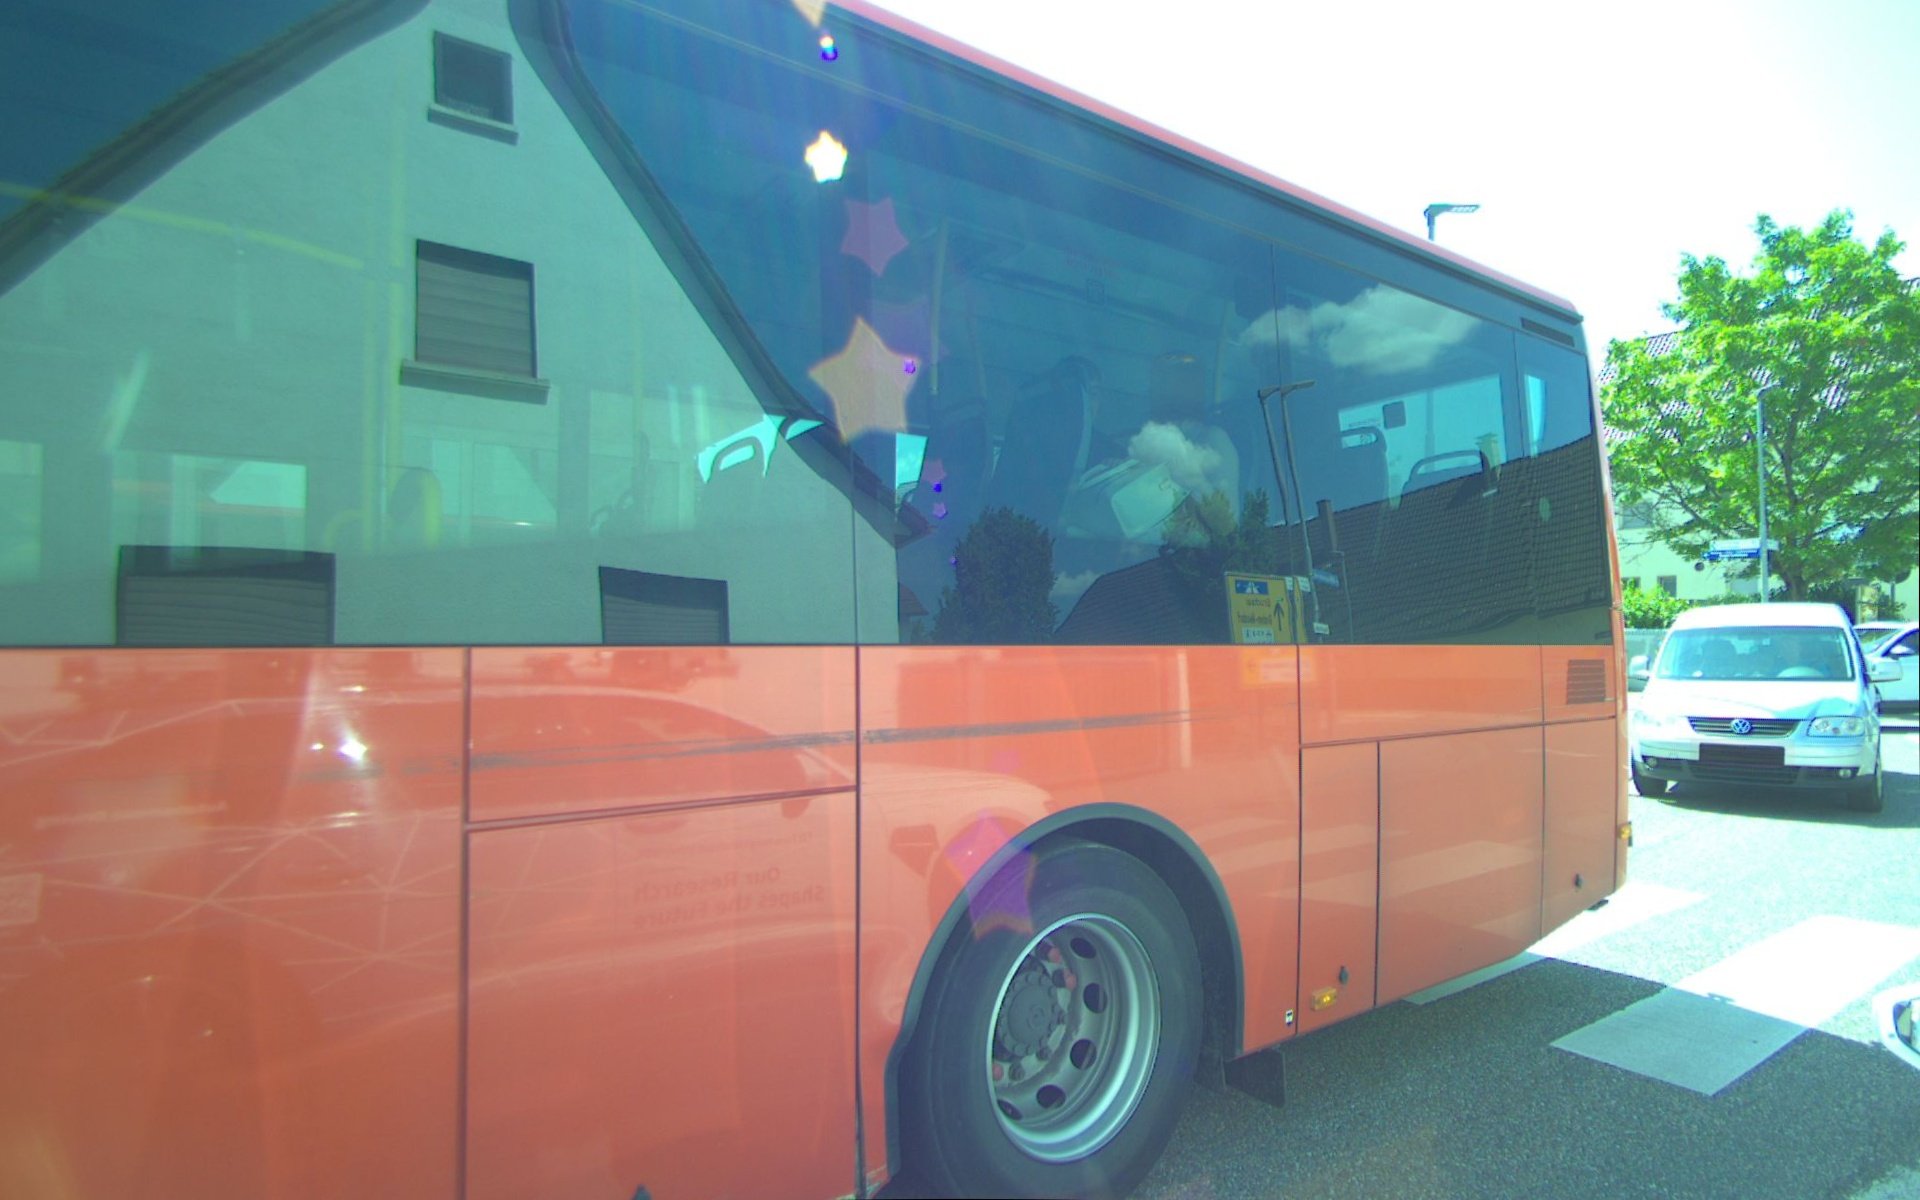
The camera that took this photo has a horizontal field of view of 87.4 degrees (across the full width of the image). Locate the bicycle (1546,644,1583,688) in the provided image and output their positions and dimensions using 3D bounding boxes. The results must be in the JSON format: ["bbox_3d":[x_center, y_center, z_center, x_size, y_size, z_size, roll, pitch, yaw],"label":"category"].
[{"bbox_3d":[15.629,1.698,25.947,0.396,1.017,1.970,-1,0,44],"label":"bicycle"}]

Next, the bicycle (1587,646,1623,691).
[{"bbox_3d":[16.268,1.715,25.319,0.396,1.017,1.970,-1,0,44],"label":"bicycle"}]

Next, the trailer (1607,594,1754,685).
[{"bbox_3d":[20.265,1.065,28.219,4.475,2.366,1.868,1,0,-33],"label":"trailer"}]

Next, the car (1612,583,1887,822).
[{"bbox_3d":[7.979,0.892,10.011,1.752,1.845,4.417,-3,-4,42],"label":"car"}]

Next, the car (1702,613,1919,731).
[{"bbox_3d":[14.615,1.094,15.751,4.450,1.732,1.873,0,-1,6],"label":"car"}]

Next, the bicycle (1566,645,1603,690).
[{"bbox_3d":[15.958,1.707,25.645,0.396,1.017,1.970,-1,0,44],"label":"bicycle"}]

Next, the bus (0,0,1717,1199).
[{"bbox_3d":[-2.175,-0.099,2.277,11.902,3.274,2.610,1,-4,-35],"label":"bus"}]

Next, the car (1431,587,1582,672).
[{"bbox_3d":[17.971,0.945,32.923,5.587,2.601,1.925,1,0,-33],"label":"car"}]
